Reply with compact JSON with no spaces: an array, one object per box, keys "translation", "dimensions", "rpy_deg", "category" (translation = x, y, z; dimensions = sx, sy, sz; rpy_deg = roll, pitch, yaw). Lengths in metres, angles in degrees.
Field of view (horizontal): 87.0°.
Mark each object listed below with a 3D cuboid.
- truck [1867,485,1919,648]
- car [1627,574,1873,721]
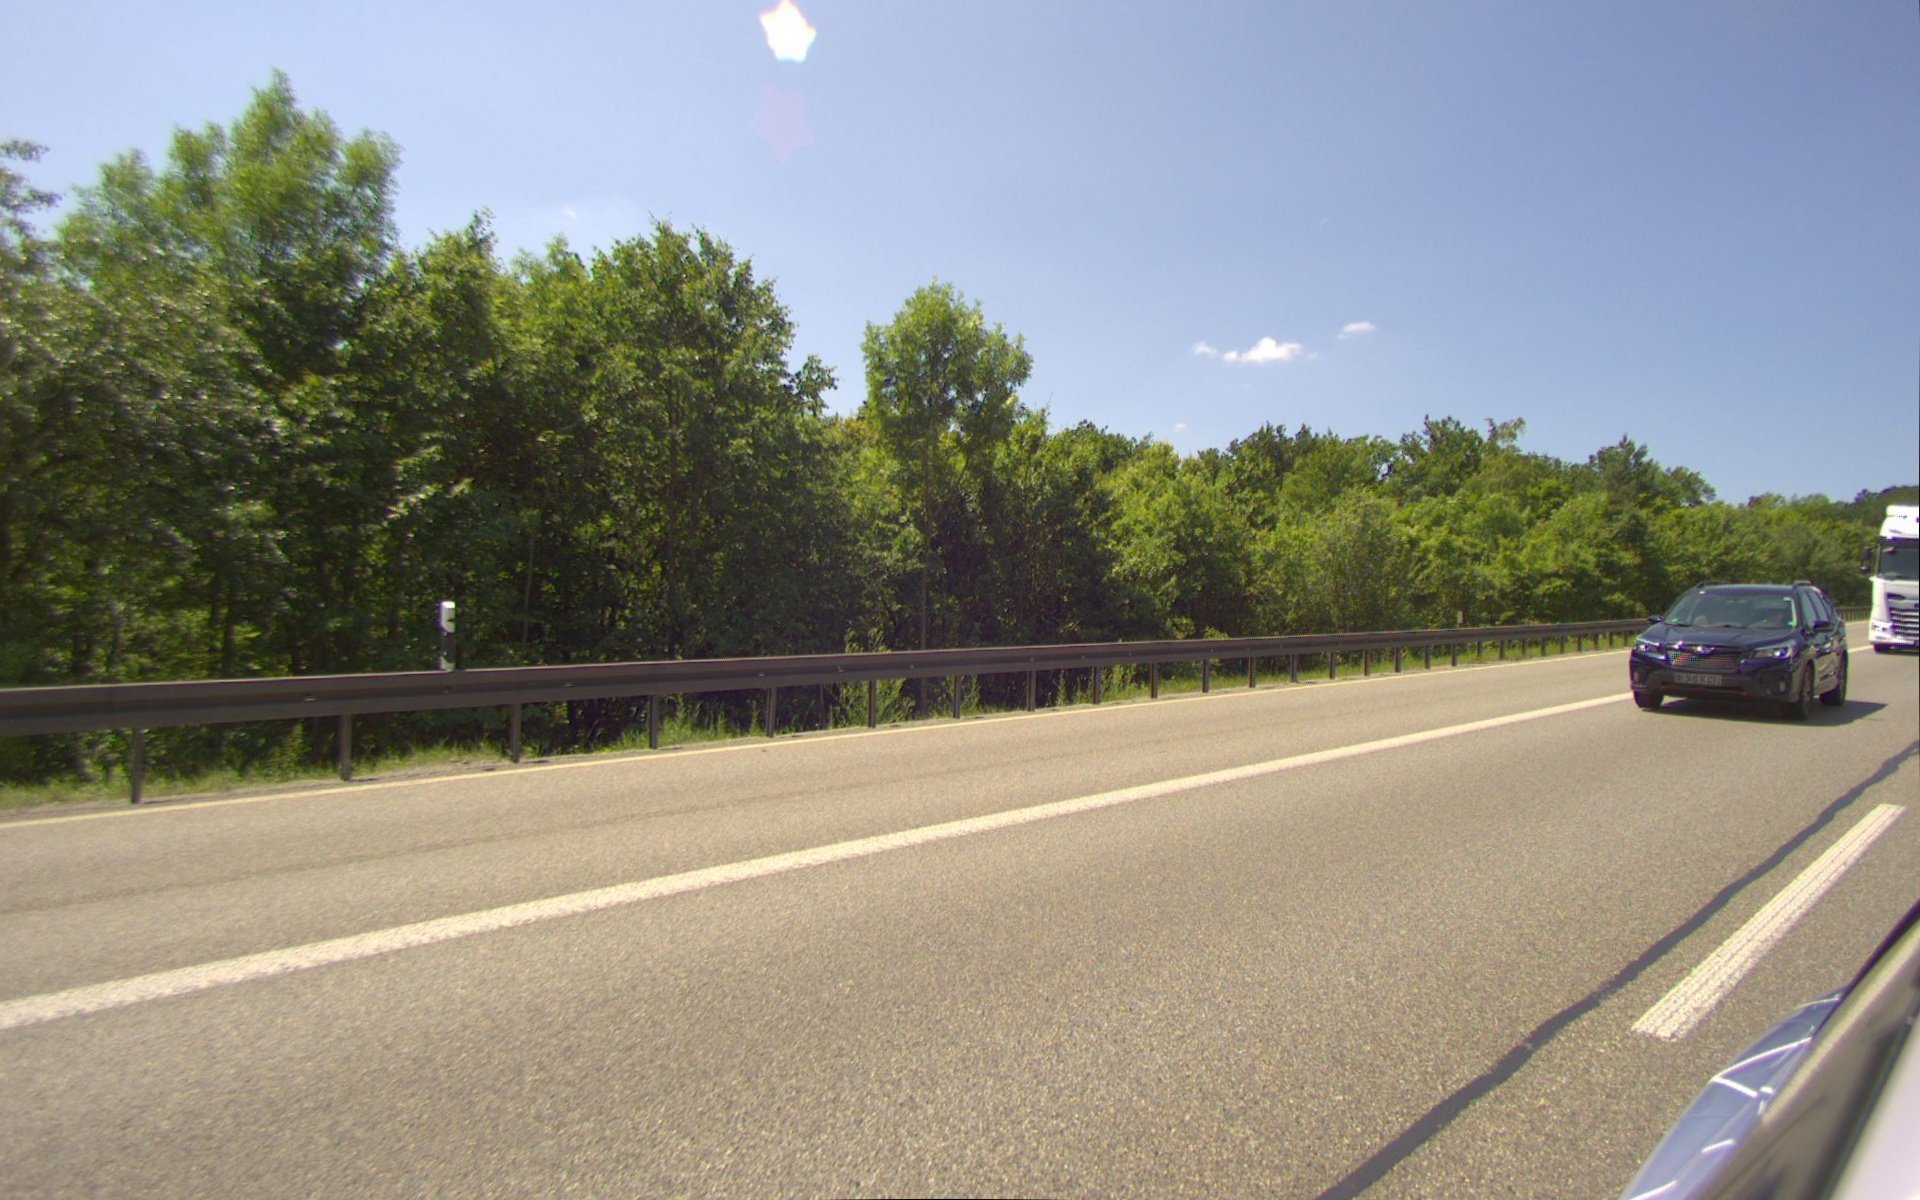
[{"translation":[31.275,-0.881,31.140],"dimensions":[15.980,4.220,2.789],"rpy_deg":[0,2,-40],"category":"truck"},{"translation":[10.811,0.523,13.747],"dimensions":[4.129,1.688,1.815],"rpy_deg":[0,2,-40],"category":"car"}]
